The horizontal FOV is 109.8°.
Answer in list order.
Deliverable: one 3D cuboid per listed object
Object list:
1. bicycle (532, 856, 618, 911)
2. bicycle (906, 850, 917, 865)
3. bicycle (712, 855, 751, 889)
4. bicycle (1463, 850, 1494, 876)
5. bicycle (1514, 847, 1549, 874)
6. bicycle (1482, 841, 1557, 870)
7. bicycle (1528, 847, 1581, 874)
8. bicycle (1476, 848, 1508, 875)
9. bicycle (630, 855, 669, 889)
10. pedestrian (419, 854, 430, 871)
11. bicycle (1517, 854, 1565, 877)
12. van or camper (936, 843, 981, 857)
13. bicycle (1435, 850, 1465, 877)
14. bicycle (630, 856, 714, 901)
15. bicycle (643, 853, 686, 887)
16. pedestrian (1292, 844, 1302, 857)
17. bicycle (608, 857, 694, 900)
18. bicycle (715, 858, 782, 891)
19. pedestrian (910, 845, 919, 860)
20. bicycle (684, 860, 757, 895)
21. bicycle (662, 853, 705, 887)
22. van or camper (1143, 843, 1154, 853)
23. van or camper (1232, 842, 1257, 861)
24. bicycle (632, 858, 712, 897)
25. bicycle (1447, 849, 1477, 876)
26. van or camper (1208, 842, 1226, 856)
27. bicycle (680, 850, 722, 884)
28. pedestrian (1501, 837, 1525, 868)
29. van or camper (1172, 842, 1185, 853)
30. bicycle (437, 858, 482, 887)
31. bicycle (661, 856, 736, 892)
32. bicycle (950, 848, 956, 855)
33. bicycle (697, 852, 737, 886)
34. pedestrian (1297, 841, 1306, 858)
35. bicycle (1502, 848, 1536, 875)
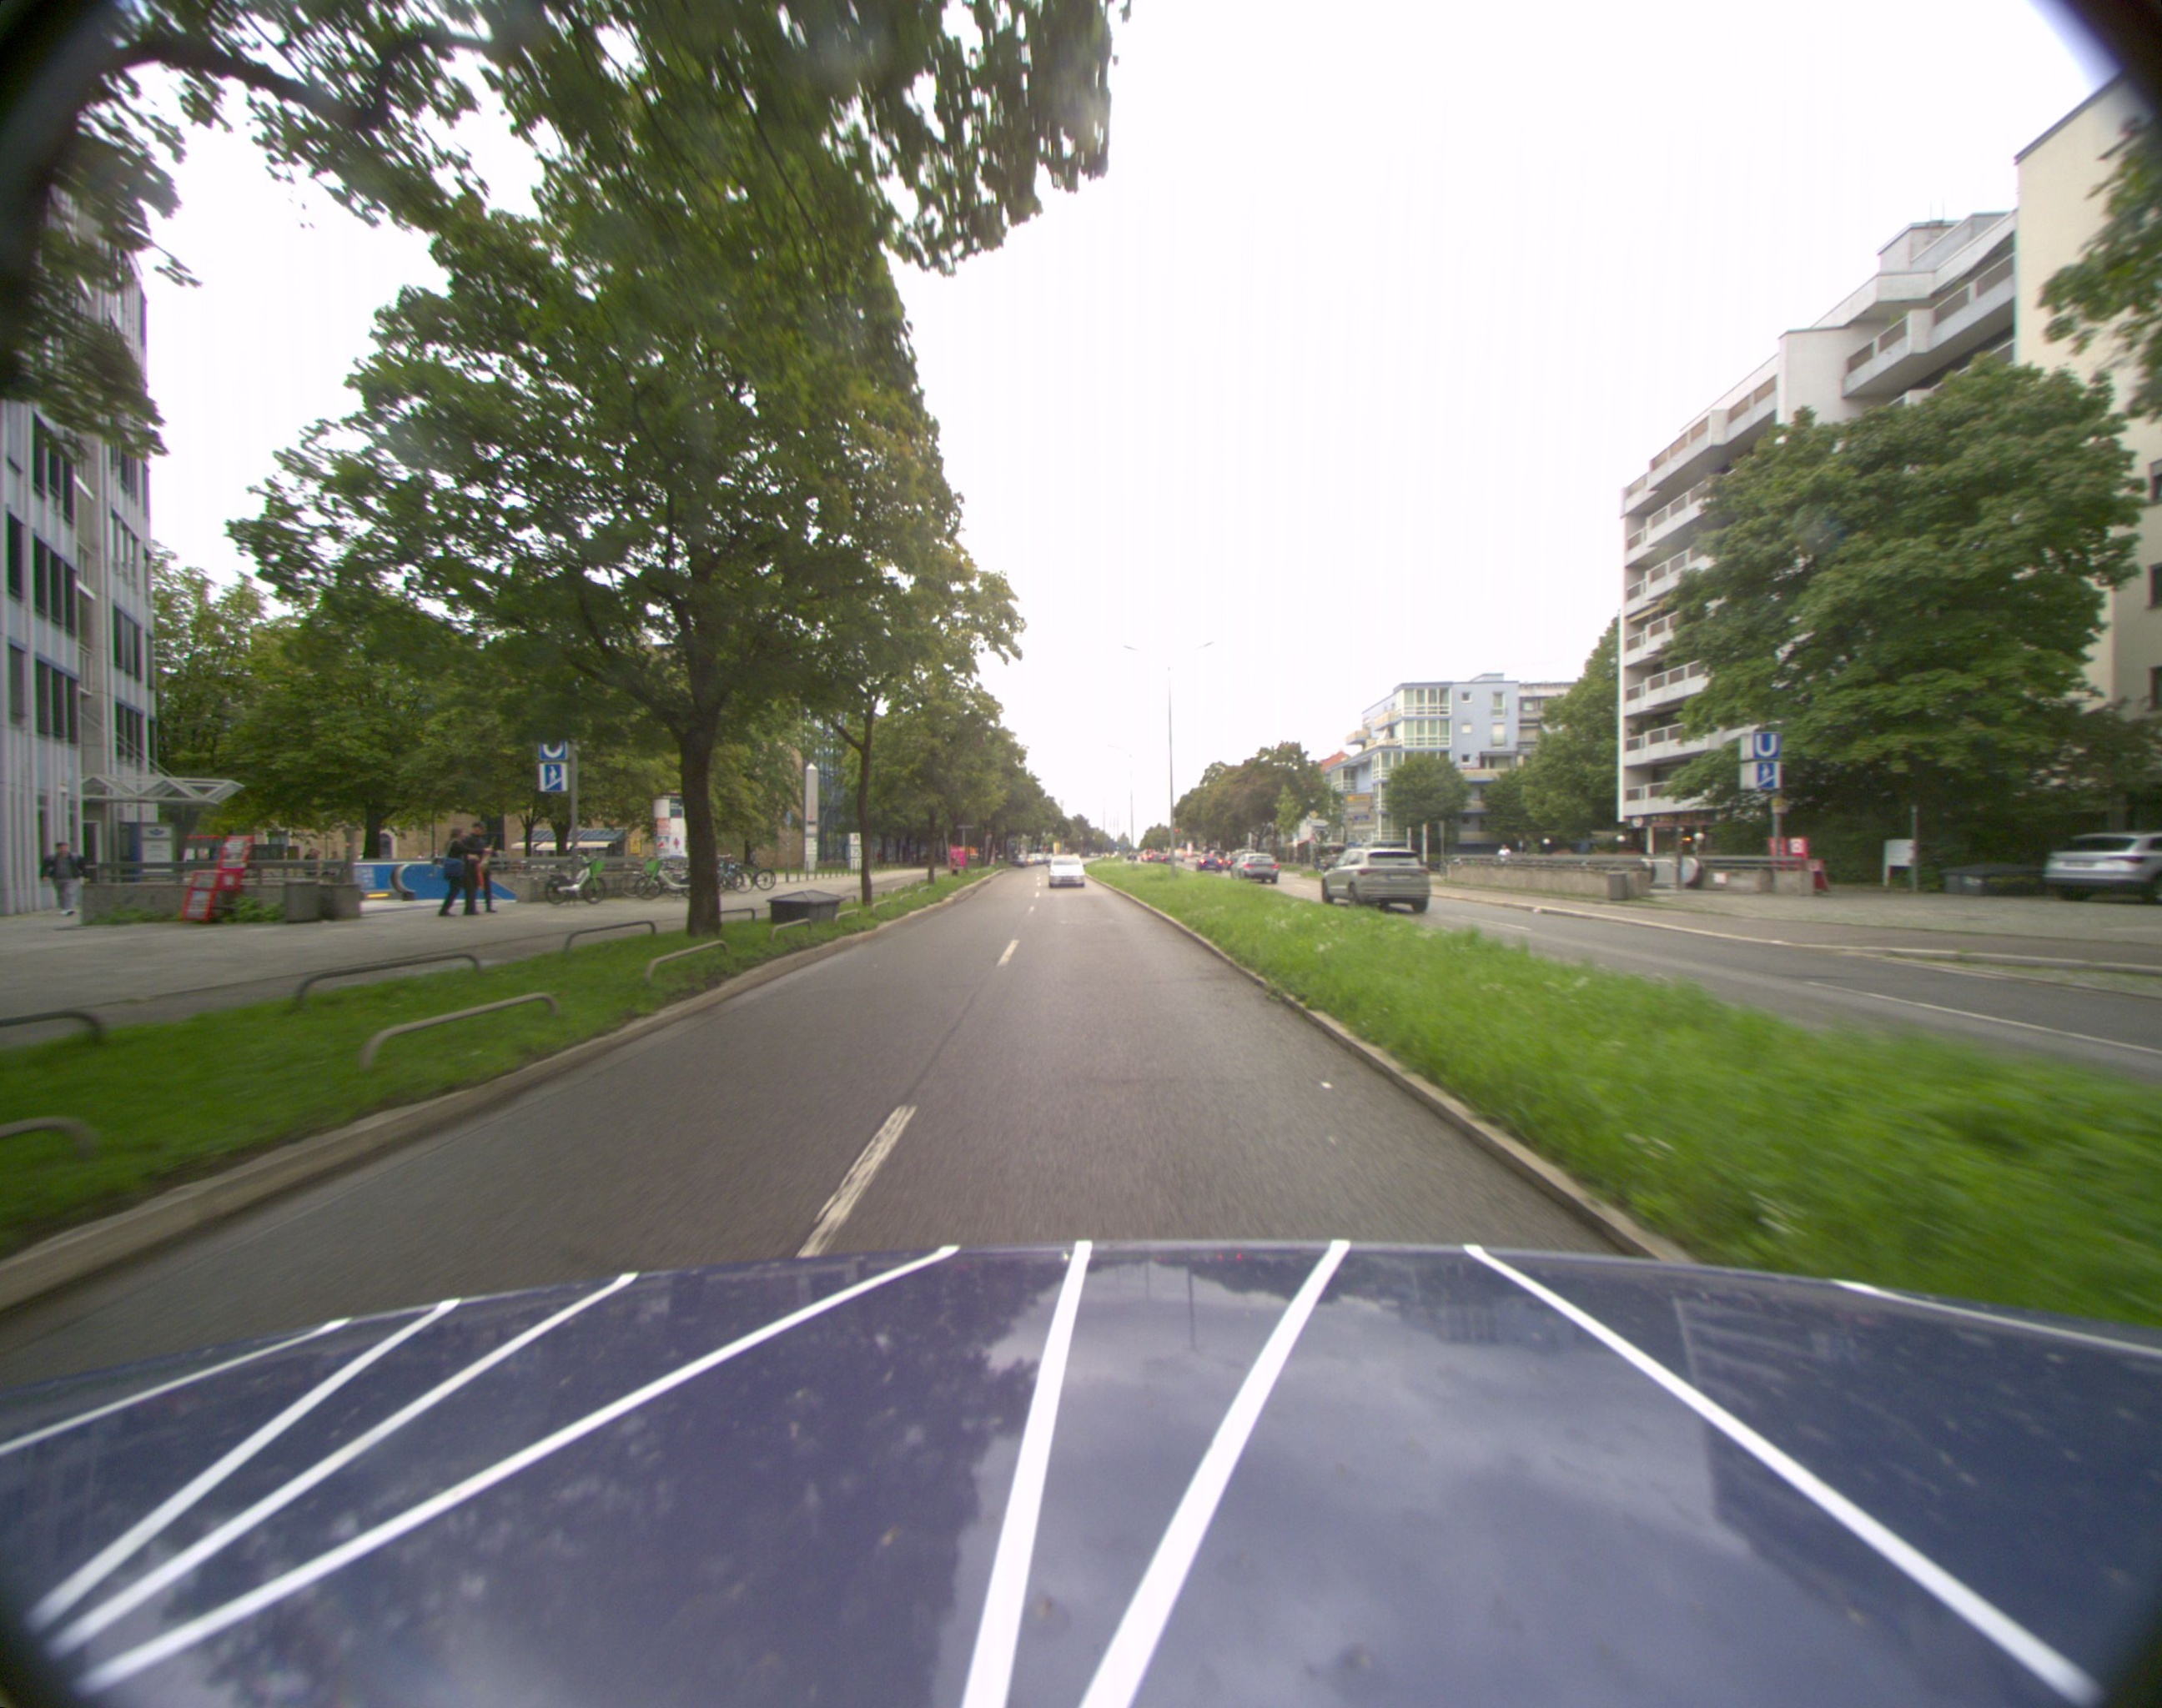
[{"bbox_3d":[-11.812,0.671,17.807,0.531,1.219,1.863,2,-1,7],"label":"bicycle"},{"bbox_3d":[-14.782,0.281,66.149,0.622,1.243,1.919,0,1,-3],"label":"bicycle"},{"bbox_3d":[-12.563,0.632,27.393,0.489,1.182,1.954,0,1,0],"label":"bicycle"},{"bbox_3d":[16.884,0.367,32.348,0.409,1.034,1.955,-5,0,6],"label":"bicycle"},{"bbox_3d":[19.127,0.265,32.295,0.409,1.091,1.955,-5,0,6],"label":"bicycle"},{"bbox_3d":[23.005,0.083,39.918,3.334,1.276,0.788,-5,1,7],"label":"bicycle"},{"bbox_3d":[21.788,0.299,34.979,1.952,1.097,0.560,-5,1,7],"label":"bicycle"},{"bbox_3d":[17.429,0.292,32.260,0.409,1.066,1.955,-5,0,6],"label":"bicycle"},{"bbox_3d":[-15.815,0.635,27.905,0.447,1.182,2.140,0,1,-7],"label":"bicycle"},{"bbox_3d":[-48.622,0.641,56.278,0.420,1.275,0.513,0,1,-12],"label":"pedestrian"},{"bbox_3d":[21.964,0.554,36.308,1.951,1.097,0.489,0,1,7],"label":"bicycle"},{"bbox_3d":[-30.950,-1.035,192.057,10.889,3.533,3.323,0,1,-1],"label":"van or camper"},{"bbox_3d":[15.682,0.384,32.334,0.409,1.083,2.085,-5,0,6],"label":"bicycle"},{"bbox_3d":[-11.127,0.671,20.687,1.958,1.182,0.595,2,0,-31],"label":"bicycle"},{"bbox_3d":[-15.131,0.559,27.633,0.446,1.182,1.954,0,1,0],"label":"bicycle"},{"bbox_3d":[26.029,-0.426,91.572,0.975,1.593,0.767,0,1,2],"label":"pedestrian"},{"bbox_3d":[-11.932,0.695,21.145,1.959,1.101,0.579,4,-2,-41],"label":"bicycle"},{"bbox_3d":[-11.570,0.711,26.489,2.036,1.093,0.578,1,2,-42],"label":"bicycle"},{"bbox_3d":[-18.852,-0.201,86.194,0.737,1.636,0.646,2,2,25],"label":"pedestrian"},{"bbox_3d":[-11.762,0.741,24.849,2.045,1.083,0.603,0,3,-41],"label":"bicycle"},{"bbox_3d":[-14.277,0.548,27.338,0.489,1.182,1.954,0,1,0],"label":"bicycle"},{"bbox_3d":[12.462,-1.060,140.271,1.795,1.787,4.125,0,1,4],"label":"van or camper"},{"bbox_3d":[17.638,-0.305,82.202,1.809,1.956,5.211,0,1,3],"label":"van or camper"},{"bbox_3d":[-11.954,0.697,22.273,1.959,1.077,0.595,2,-1,-41],"label":"bicycle"},{"bbox_3d":[16.207,0.342,32.345,0.409,1.072,1.955,-5,0,6],"label":"bicycle"},{"bbox_3d":[19.368,-0.757,108.062,2.025,1.931,4.705,0,1,4],"label":"van or camper"},{"bbox_3d":[-13.669,0.440,27.386,0.489,1.182,1.954,0,1,0],"label":"bicycle"},{"bbox_3d":[23.864,-0.089,41.963,0.670,1.698,1.130,0,1,-2],"label":"pedestrian"},{"bbox_3d":[17.547,-1.177,136.942,2.020,2.004,5.199,0,1,3],"label":"van or camper"},{"bbox_3d":[-28.678,0.843,35.110,0.510,1.253,2.173,0,1,-7],"label":"bicycle"},{"bbox_3d":[-11.822,0.623,23.529,1.959,1.060,0.578,2,1,-41],"label":"bicycle"},{"bbox_3d":[-18.504,-0.387,109.699,0.512,0.935,2.141,0,1,2],"label":"bicycle"},{"bbox_3d":[-13.086,0.513,27.376,0.489,1.182,1.954,0,1,0],"label":"bicycle"},{"bbox_3d":[23.306,-0.467,80.306,0.643,1.795,0.780,0,1,2],"label":"pedestrian"},{"bbox_3d":[18.609,0.294,32.322,0.409,1.097,1.955,-5,0,6],"label":"bicycle"}]
